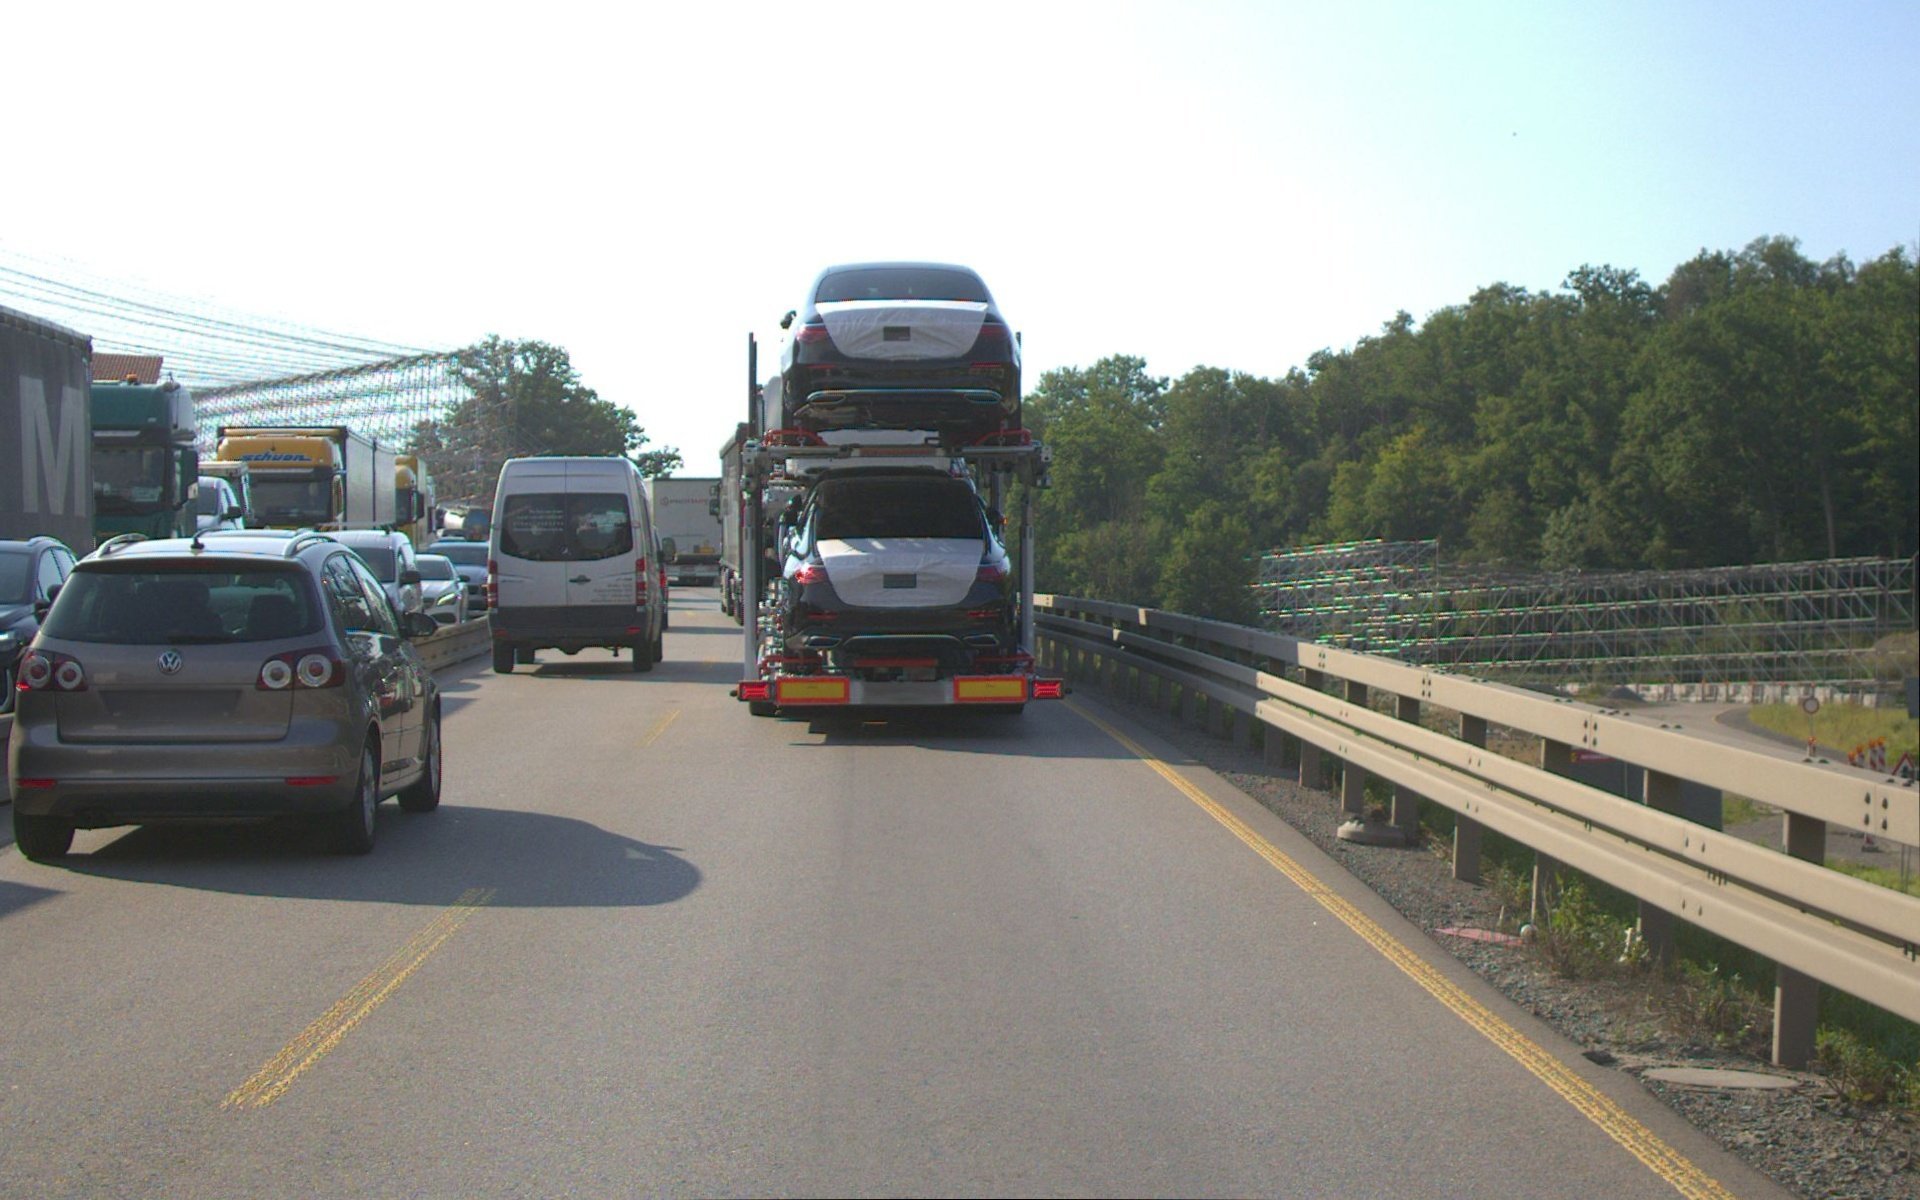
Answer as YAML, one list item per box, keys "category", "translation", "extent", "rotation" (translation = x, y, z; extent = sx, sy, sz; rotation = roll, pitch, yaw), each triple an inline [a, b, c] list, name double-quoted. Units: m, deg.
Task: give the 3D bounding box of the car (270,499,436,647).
- category: "car"
  translation: [-8.626, -0.362, 49.252]
  extent: [1.823, 1.927, 5.131]
  rotation: [-3, 0, -5]

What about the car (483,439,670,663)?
- category: "car"
  translation: [-4.769, -0.591, 43.306]
  extent: [1.979, 2.675, 4.147]
  rotation: [-1, 0, -2]

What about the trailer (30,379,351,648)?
- category: "trailer"
  translation: [-12.439, -1.321, 57.272]
  extent: [2.748, 3.802, 16.049]
  rotation: [-1, 1, -4]

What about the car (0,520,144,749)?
- category: "car"
  translation: [-7.792, 0.259, 26.569]
  extent: [1.876, 1.600, 5.369]
  rotation: [-2, 0, -3]

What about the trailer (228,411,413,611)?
- category: "trailer"
  translation: [-14.569, -1.848, 79.547]
  extent: [2.714, 4.120, 16.755]
  rotation: [-1, 0, -6]

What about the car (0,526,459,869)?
- category: "car"
  translation: [-3.766, 0.451, 18.082]
  extent: [1.701, 1.581, 4.147]
  rotation: [-1, 0, -1]

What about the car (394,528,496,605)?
- category: "car"
  translation: [-11.540, -0.731, 77.226]
  extent: [1.959, 1.639, 4.849]
  rotation: [-1, 0, -5]

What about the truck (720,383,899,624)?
- category: "truck"
  translation: [-3.312, -2.017, 72.243]
  extent: [3.227, 4.661, 11.698]
  rotation: [0, 1, -5]

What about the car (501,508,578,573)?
- category: "car"
  translation: [-11.563, -1.623, 94.766]
  extent: [1.926, 1.696, 4.692]
  rotation: [-1, 0, -5]

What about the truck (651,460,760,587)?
- category: "truck"
  translation: [-9.697, -2.959, 132.415]
  extent: [3.648, 4.661, 11.696]
  rotation: [0, 1, -2]

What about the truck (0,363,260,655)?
- category: "truck"
  translation: [-11.837, -1.233, 48.768]
  extent: [2.748, 3.792, 7.113]
  rotation: [-1, 1, -4]

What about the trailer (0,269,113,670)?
- category: "trailer"
  translation: [-11.141, -1.305, 34.658]
  extent: [2.714, 4.108, 12.494]
  rotation: [-1, 1, -3]

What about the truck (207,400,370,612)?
- category: "truck"
  translation: [-13.659, -1.844, 70.289]
  extent: [2.700, 4.126, 5.795]
  rotation: [-1, 0, -6]

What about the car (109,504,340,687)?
- category: "car"
  translation: [-8.335, -0.037, 39.345]
  extent: [1.833, 1.957, 4.900]
  rotation: [0, 0, -3]

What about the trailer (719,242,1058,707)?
- category: "trailer"
  translation: [-1.050, -1.093, 37.245]
  extent: [2.874, 3.980, 15.281]
  rotation: [-1, 0, -3]

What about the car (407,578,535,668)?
- category: "car"
  translation: [-8.780, 0.383, 62.074]
  extent: [1.803, 1.516, 4.817]
  rotation: [-2, 0, -3]

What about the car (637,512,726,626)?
- category: "car"
  translation: [-5.170, -0.555, 64.074]
  extent: [1.528, 2.007, 4.000]
  rotation: [2, 0, -4]

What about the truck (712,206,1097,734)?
- category: "truck"
  translation: [-0.581, -0.990, 28.826]
  extent: [2.869, 3.966, 5.772]
  rotation: [-1, 0, -3]

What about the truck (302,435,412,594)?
- category: "truck"
  translation: [-16.352, -2.278, 93.451]
  extent: [2.693, 4.182, 4.399]
  rotation: [-1, 0, -7]
